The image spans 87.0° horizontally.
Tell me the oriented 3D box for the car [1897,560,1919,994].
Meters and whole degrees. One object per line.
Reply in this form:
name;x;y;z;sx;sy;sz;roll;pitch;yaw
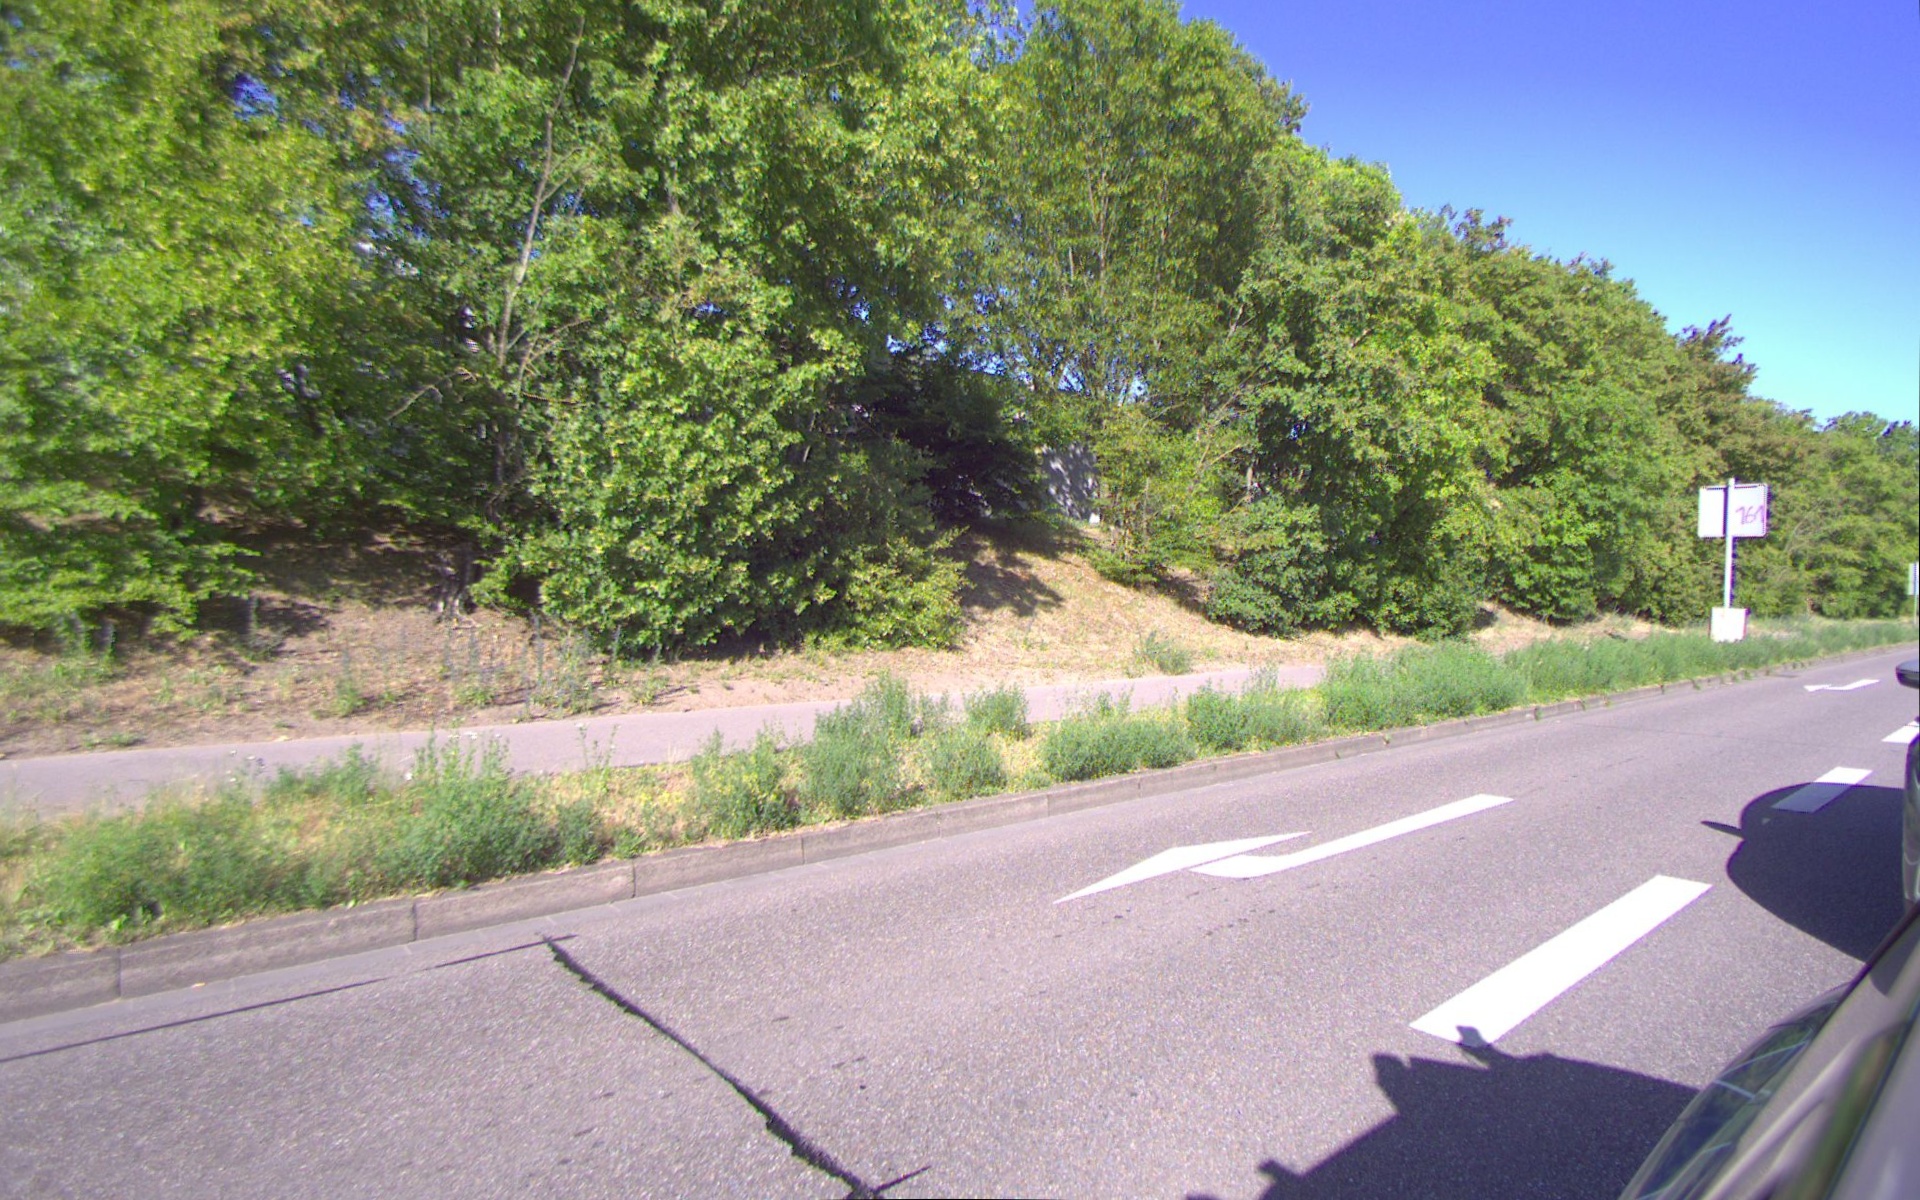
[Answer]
car;5.730;0.656;4.536;4.327;1.603;1.860;0;0;-42
